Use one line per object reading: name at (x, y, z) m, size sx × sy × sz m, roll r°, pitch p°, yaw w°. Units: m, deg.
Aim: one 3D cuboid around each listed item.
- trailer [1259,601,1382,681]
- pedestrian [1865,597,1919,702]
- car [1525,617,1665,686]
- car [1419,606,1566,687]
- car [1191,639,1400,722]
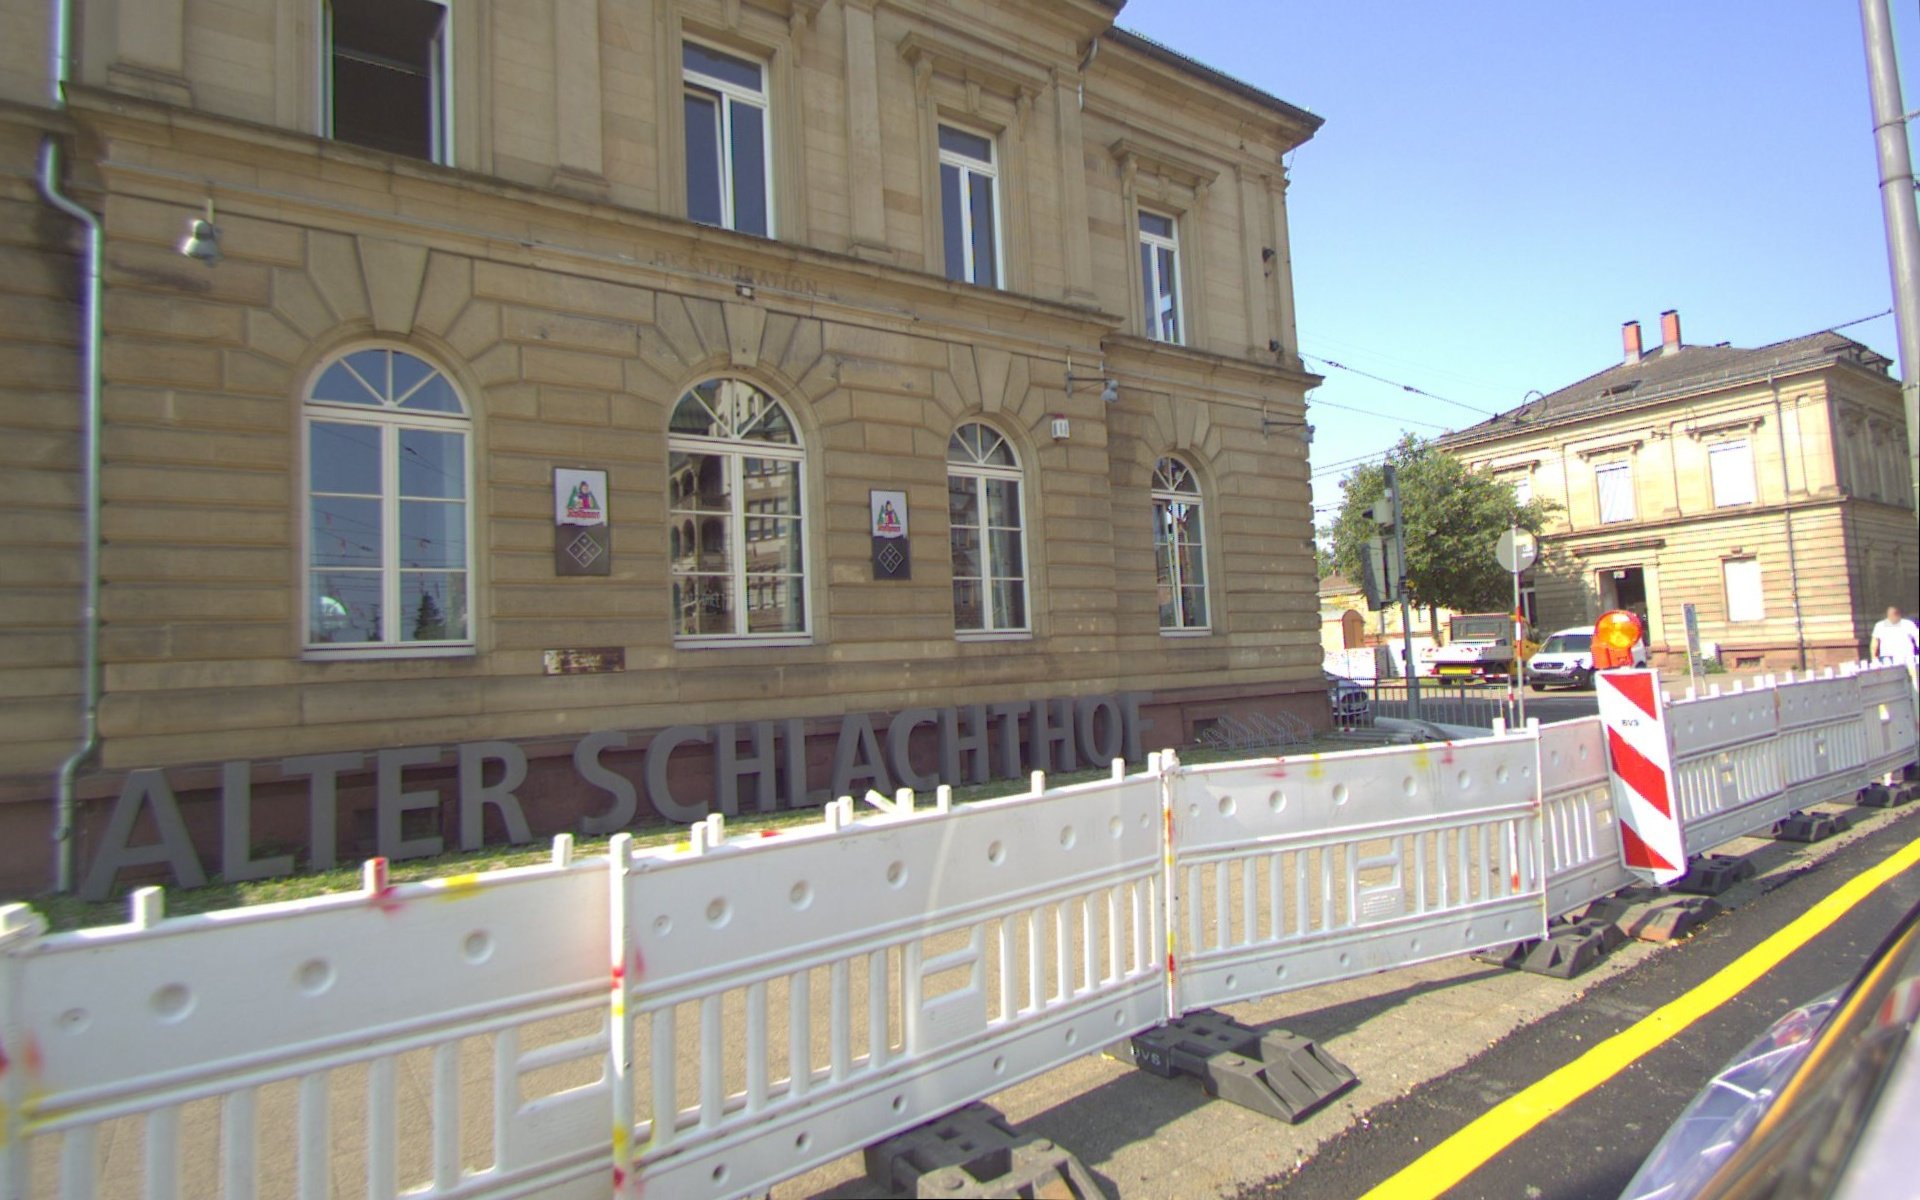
trailer at (15.795, 1.838, 44.487) m, size 2.470 × 3.089 × 4.111 m, roll -1°, pitch -6°, yaw -41°
pedestrian at (16.381, 0.853, 17.465) m, size 0.658 × 1.760 × 0.868 m, roll 0°, pitch -5°, yaw -35°
car at (18.744, 1.500, 29.848) m, size 4.144 × 1.806 × 1.909 m, roll -1°, pitch -4°, yaw -34°
car at (18.002, 1.523, 34.120) m, size 5.390 × 2.455 × 2.261 m, roll 0°, pitch -5°, yaw -39°
car at (7.180, 1.699, 21.979) m, size 1.636 × 1.556 × 4.005 m, roll -1°, pitch -2°, yaw -40°
